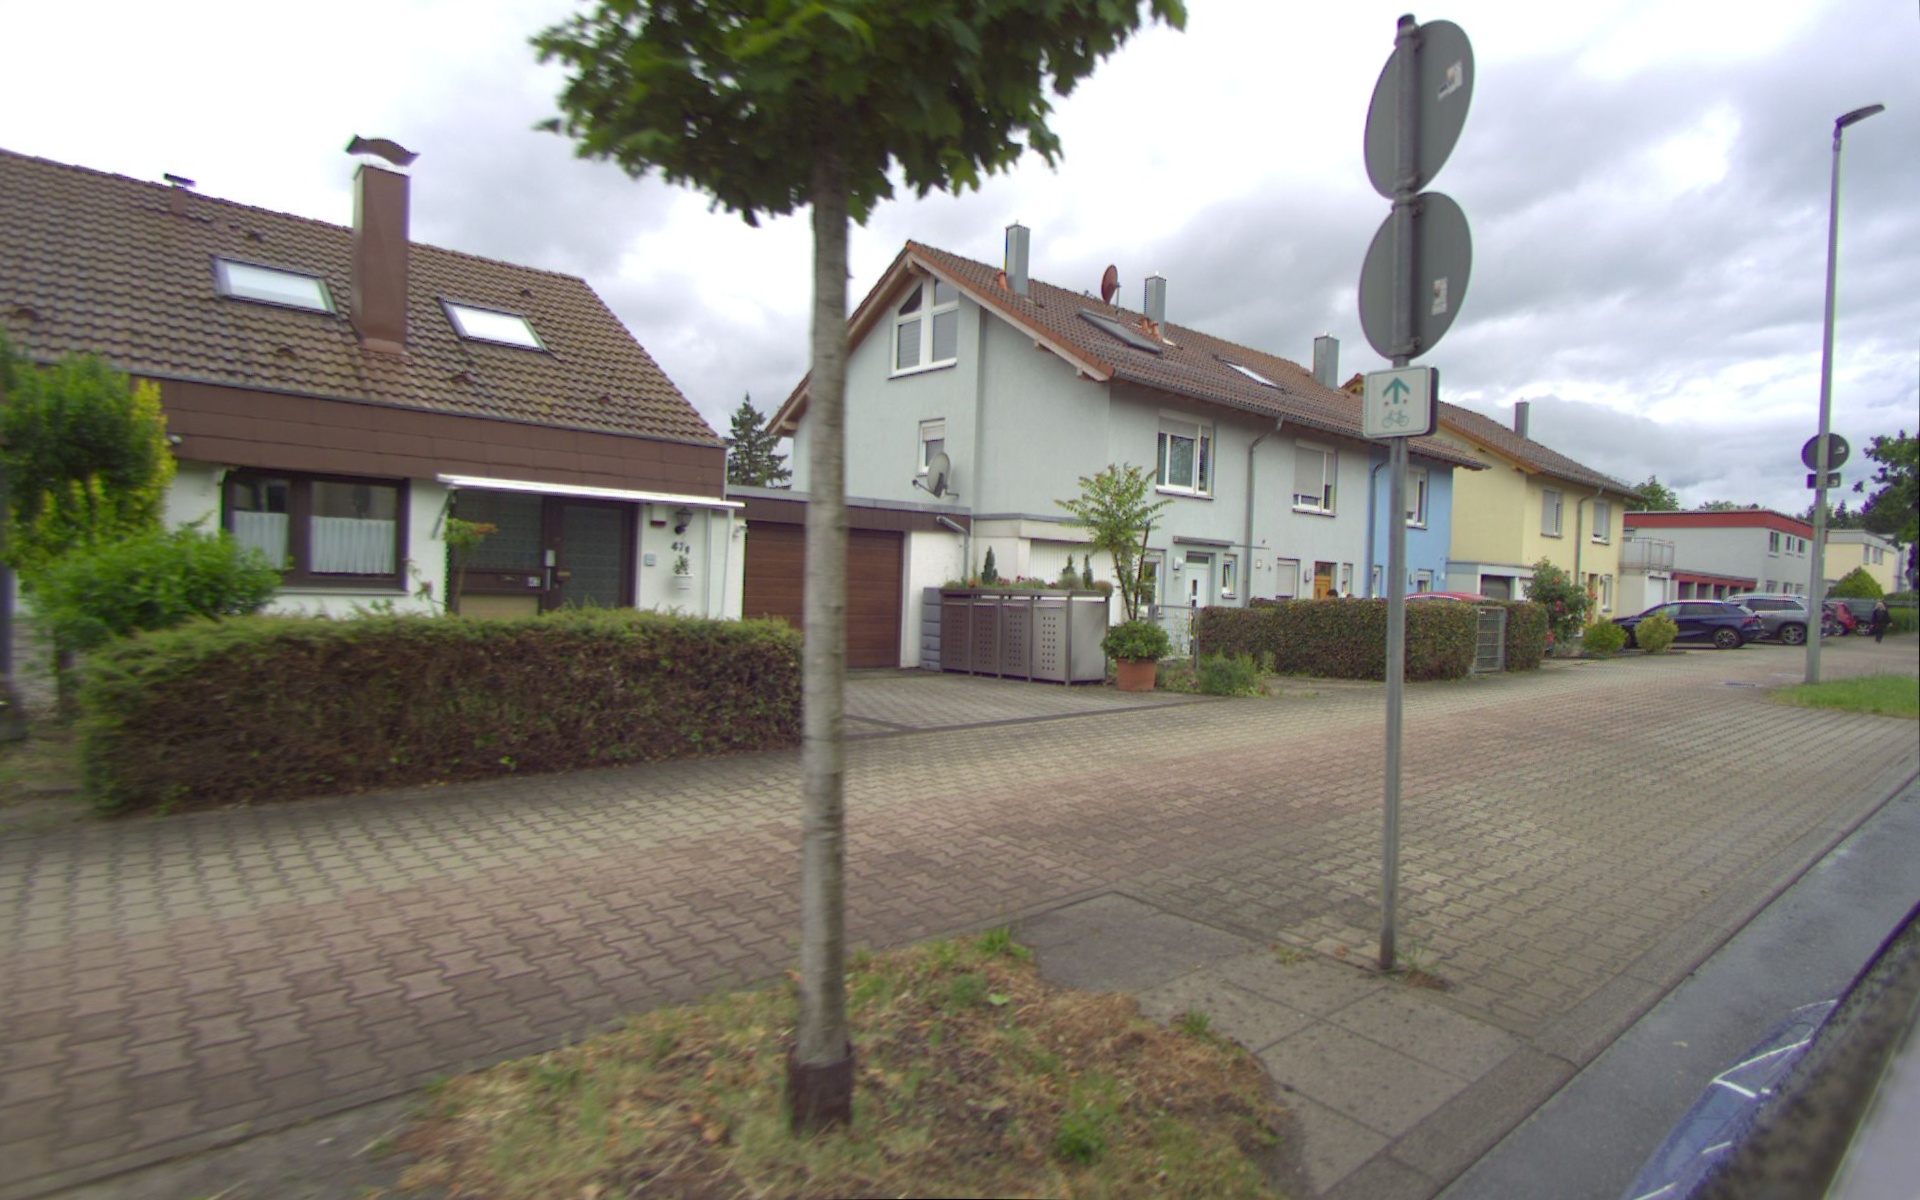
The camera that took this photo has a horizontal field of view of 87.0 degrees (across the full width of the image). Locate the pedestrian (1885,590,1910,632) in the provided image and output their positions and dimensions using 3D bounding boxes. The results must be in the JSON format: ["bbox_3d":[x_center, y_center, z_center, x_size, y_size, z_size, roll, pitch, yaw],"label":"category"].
[{"bbox_3d":[35.642,0.411,38.476,0.664,1.577,0.829,2,2,44],"label":"pedestrian"}]

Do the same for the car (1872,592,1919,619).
[{"bbox_3d":[61.456,0.392,65.353,1.733,1.551,3.617,0,5,-43],"label":"car"}]

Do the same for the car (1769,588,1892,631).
[{"bbox_3d":[39.420,0.384,45.894,1.891,1.742,3.994,0,2,-42],"label":"car"}]

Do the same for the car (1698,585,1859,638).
[{"bbox_3d":[29.519,0.351,36.584,1.956,1.692,4.189,0,2,-39],"label":"car"}]

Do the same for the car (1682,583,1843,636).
[{"bbox_3d":[27.249,0.300,34.429,4.177,1.693,1.695,0,0,43],"label":"car"}]

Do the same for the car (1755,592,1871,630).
[{"bbox_3d":[37.362,0.452,44.391,1.678,1.459,3.698,0,2,-42],"label":"car"}]

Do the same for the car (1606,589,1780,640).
[{"bbox_3d":[21.875,0.485,30.319,1.647,1.405,3.988,2,-3,-44],"label":"car"}]

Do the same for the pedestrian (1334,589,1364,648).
[{"bbox_3d":[9.198,0.425,23.935,0.534,1.368,0.522,2,1,36],"label":"pedestrian"}]

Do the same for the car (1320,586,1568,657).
[{"bbox_3d":[9.668,0.369,20.382,4.292,1.276,1.657,1,0,37],"label":"car"}]
